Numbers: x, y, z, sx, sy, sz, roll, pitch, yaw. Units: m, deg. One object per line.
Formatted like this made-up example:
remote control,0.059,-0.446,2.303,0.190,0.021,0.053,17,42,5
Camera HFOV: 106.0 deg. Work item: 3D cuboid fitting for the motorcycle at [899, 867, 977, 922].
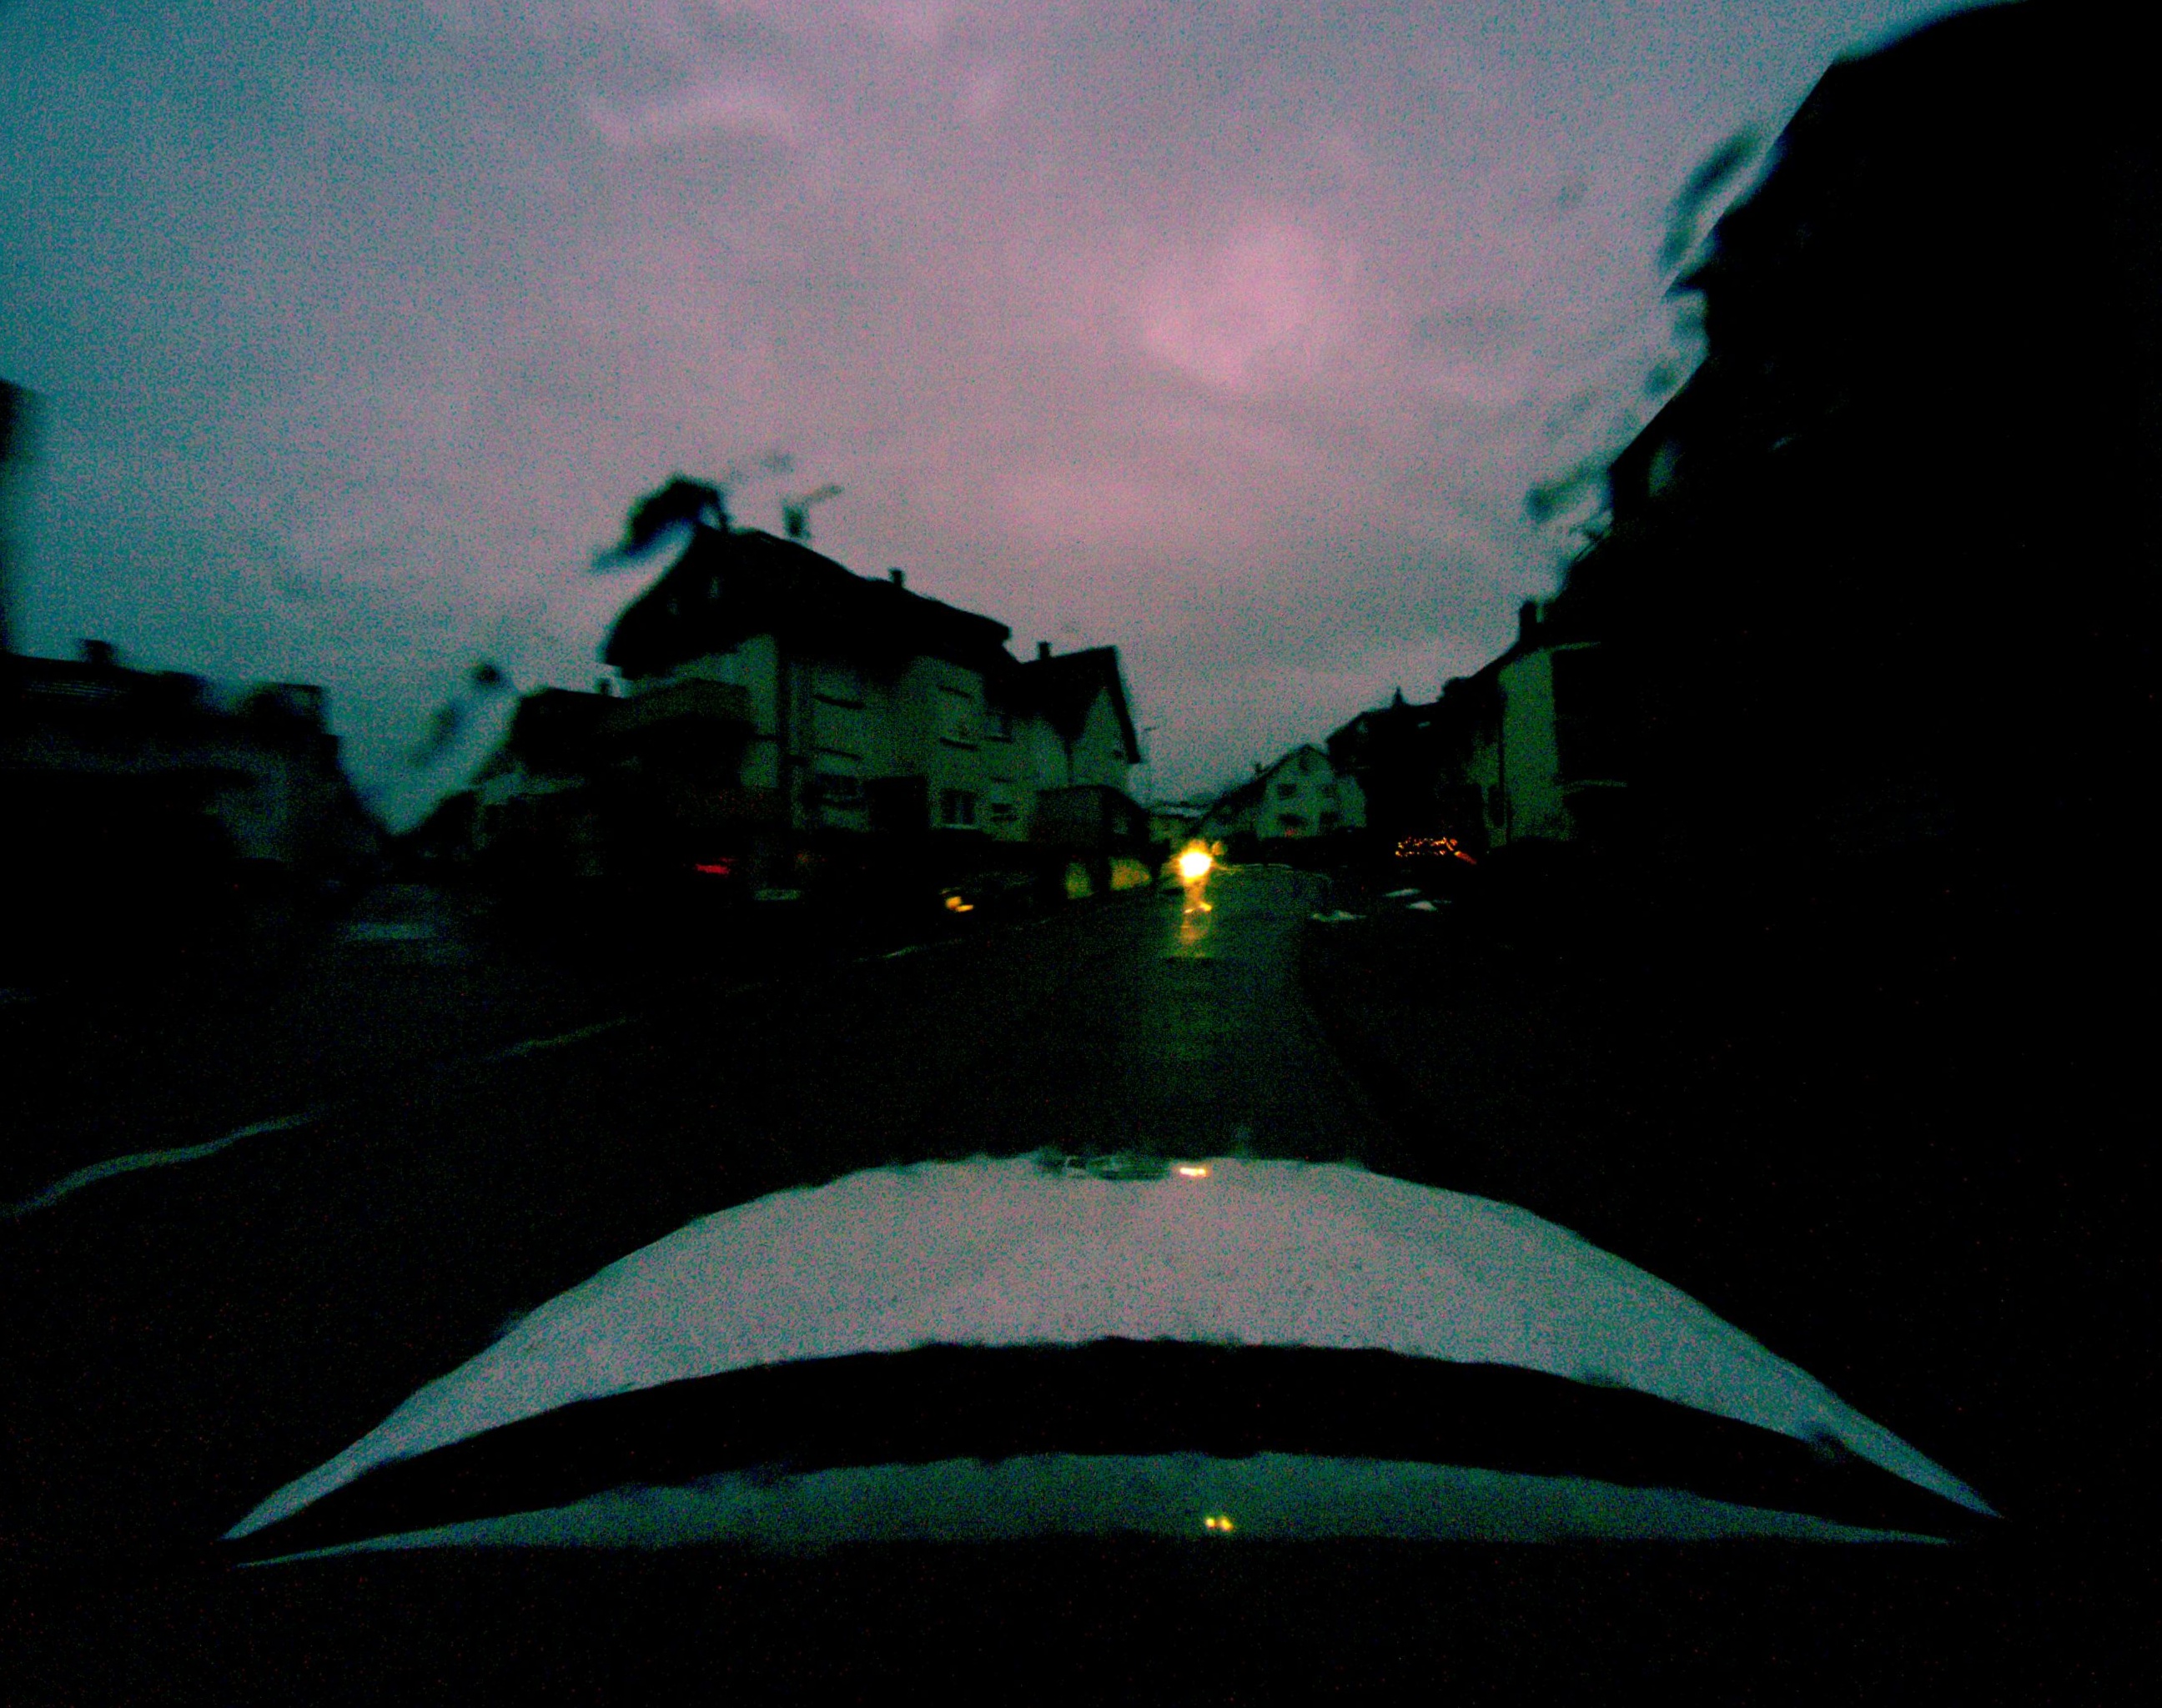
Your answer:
motorcycle,-3.670,0.998,20.772,1.062,1.298,2.213,0,0,-37

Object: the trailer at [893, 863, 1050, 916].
trailer,-2.894,0.917,22.885,2.039,1.168,4.896,1,1,25

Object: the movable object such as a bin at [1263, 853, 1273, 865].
movable object such as a bin,14.557,0.407,63.502,0.634,0.917,0.686,-2,-1,2

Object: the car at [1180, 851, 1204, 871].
car,11.988,0.734,87.630,2.096,2.027,4.999,-3,-1,12

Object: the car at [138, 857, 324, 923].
car,-28.250,1.154,27.183,1.974,2.014,4.025,-1,-2,37

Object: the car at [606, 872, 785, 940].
car,-9.135,1.177,19.247,3.948,1.416,1.929,-1,-1,31

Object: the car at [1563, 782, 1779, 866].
car,16.036,-0.776,22.367,4.231,1.648,2.067,-8,-1,5

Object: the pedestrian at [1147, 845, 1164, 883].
pedestrian,3.377,0.460,36.950,0.593,1.733,0.816,-1,-2,19
